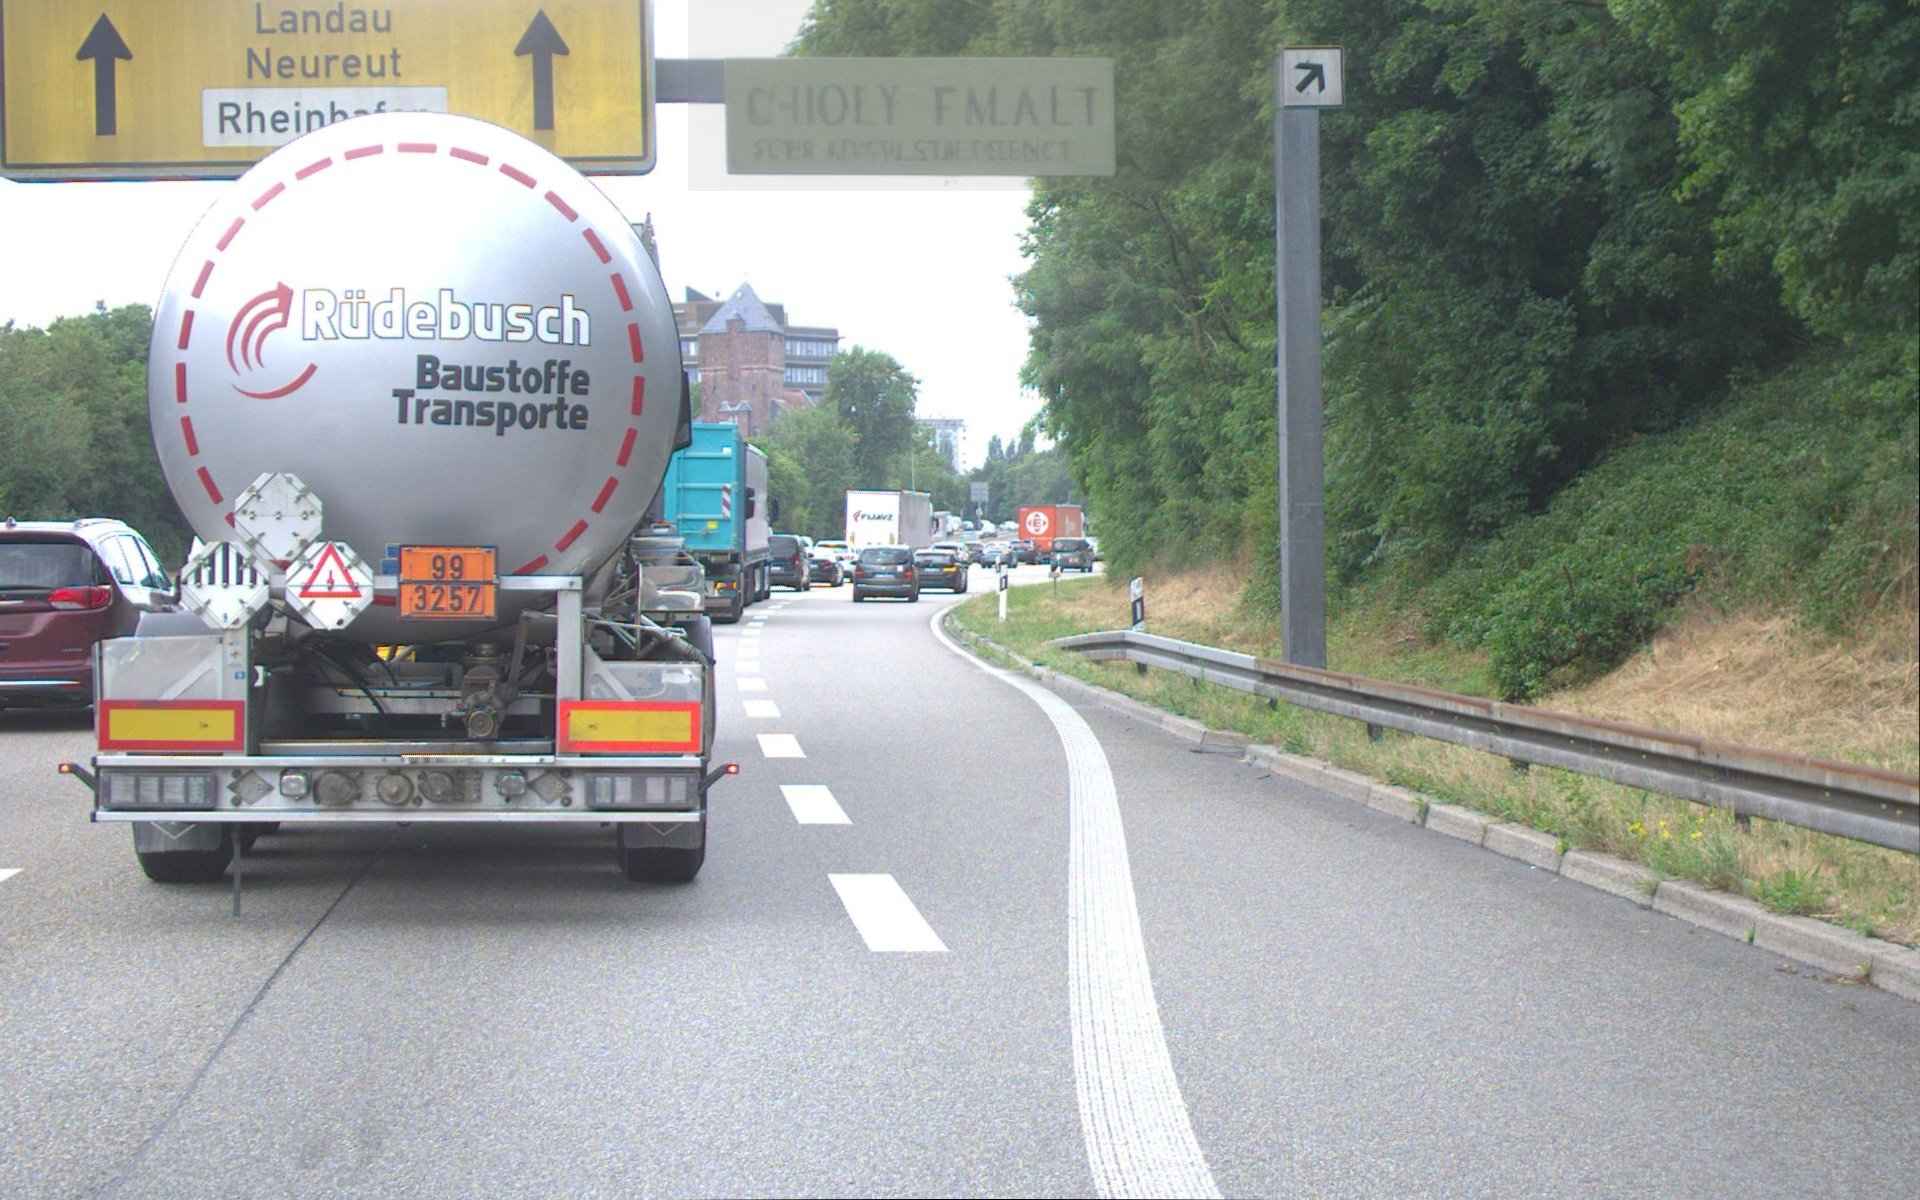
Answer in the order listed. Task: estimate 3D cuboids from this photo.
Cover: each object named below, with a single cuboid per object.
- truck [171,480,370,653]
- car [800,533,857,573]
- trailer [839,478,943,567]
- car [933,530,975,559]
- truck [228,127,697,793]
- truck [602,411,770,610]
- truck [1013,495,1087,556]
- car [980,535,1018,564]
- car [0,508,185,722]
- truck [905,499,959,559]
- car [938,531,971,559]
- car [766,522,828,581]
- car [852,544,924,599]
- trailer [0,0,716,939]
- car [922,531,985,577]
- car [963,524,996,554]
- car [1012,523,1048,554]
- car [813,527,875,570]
[{"bbox_3d":[-8.433,-0.410,42.326,1.993,2.007,4.001,1,1,-6],"label":"truck"},{"bbox_3d":[-4.827,-1.749,127.046,1.847,1.455,4.831,-1,1,1],"label":"car"},{"bbox_3d":[-3.141,-3.578,162.319,3.299,4.022,13.095,1,1,6],"label":"trailer"},{"bbox_3d":[-0.335,-3.154,193.574,1.800,1.598,4.256,-1,1,8],"label":"car"},{"bbox_3d":[-3.220,-0.897,23.683,2.682,3.894,6.937,-1,1,-5],"label":"truck"},{"bbox_3d":[-5.585,-1.838,71.837,2.929,3.783,11.332,-1,1,-2],"label":"truck"},{"bbox_3d":[6.273,-5.157,237.159,3.491,4.059,13.587,-1,1,8],"label":"truck"},{"bbox_3d":[2.341,-2.987,205.331,1.718,1.678,3.999,1,1,8],"label":"car"},{"bbox_3d":[-7.870,0.091,29.441,1.875,1.701,4.001,1,1,-5],"label":"car"},{"bbox_3d":[-1.962,-5.054,245.959,2.739,4.124,10.695,1,1,5],"label":"truck"},{"bbox_3d":[-0.313,-3.121,193.311,1.531,1.546,3.418,-1,1,5],"label":"car"},{"bbox_3d":[-5.492,-1.644,115.472,1.987,1.891,4.986,-1,1,-3],"label":"car"},{"bbox_3d":[-1.981,-0.809,95.663,1.825,1.477,4.000,-1,1,1],"label":"car"},{"bbox_3d":[-2.785,-0.777,18.628,2.682,3.894,10.989,-1,1,-5],"label":"trailer"},{"bbox_3d":[-0.196,-1.519,112.377,1.825,1.477,4.000,-1,1,3],"label":"car"},{"bbox_3d":[1.321,-4.142,232.128,1.818,2.007,3.999,-1,1,6],"label":"car"},{"bbox_3d":[4.623,-4.059,225.885,1.994,2.007,3.999,-1,1,7],"label":"car"},{"bbox_3d":[-4.679,-2.087,139.458,1.957,1.689,4.865,-1,1,5],"label":"car"}]
